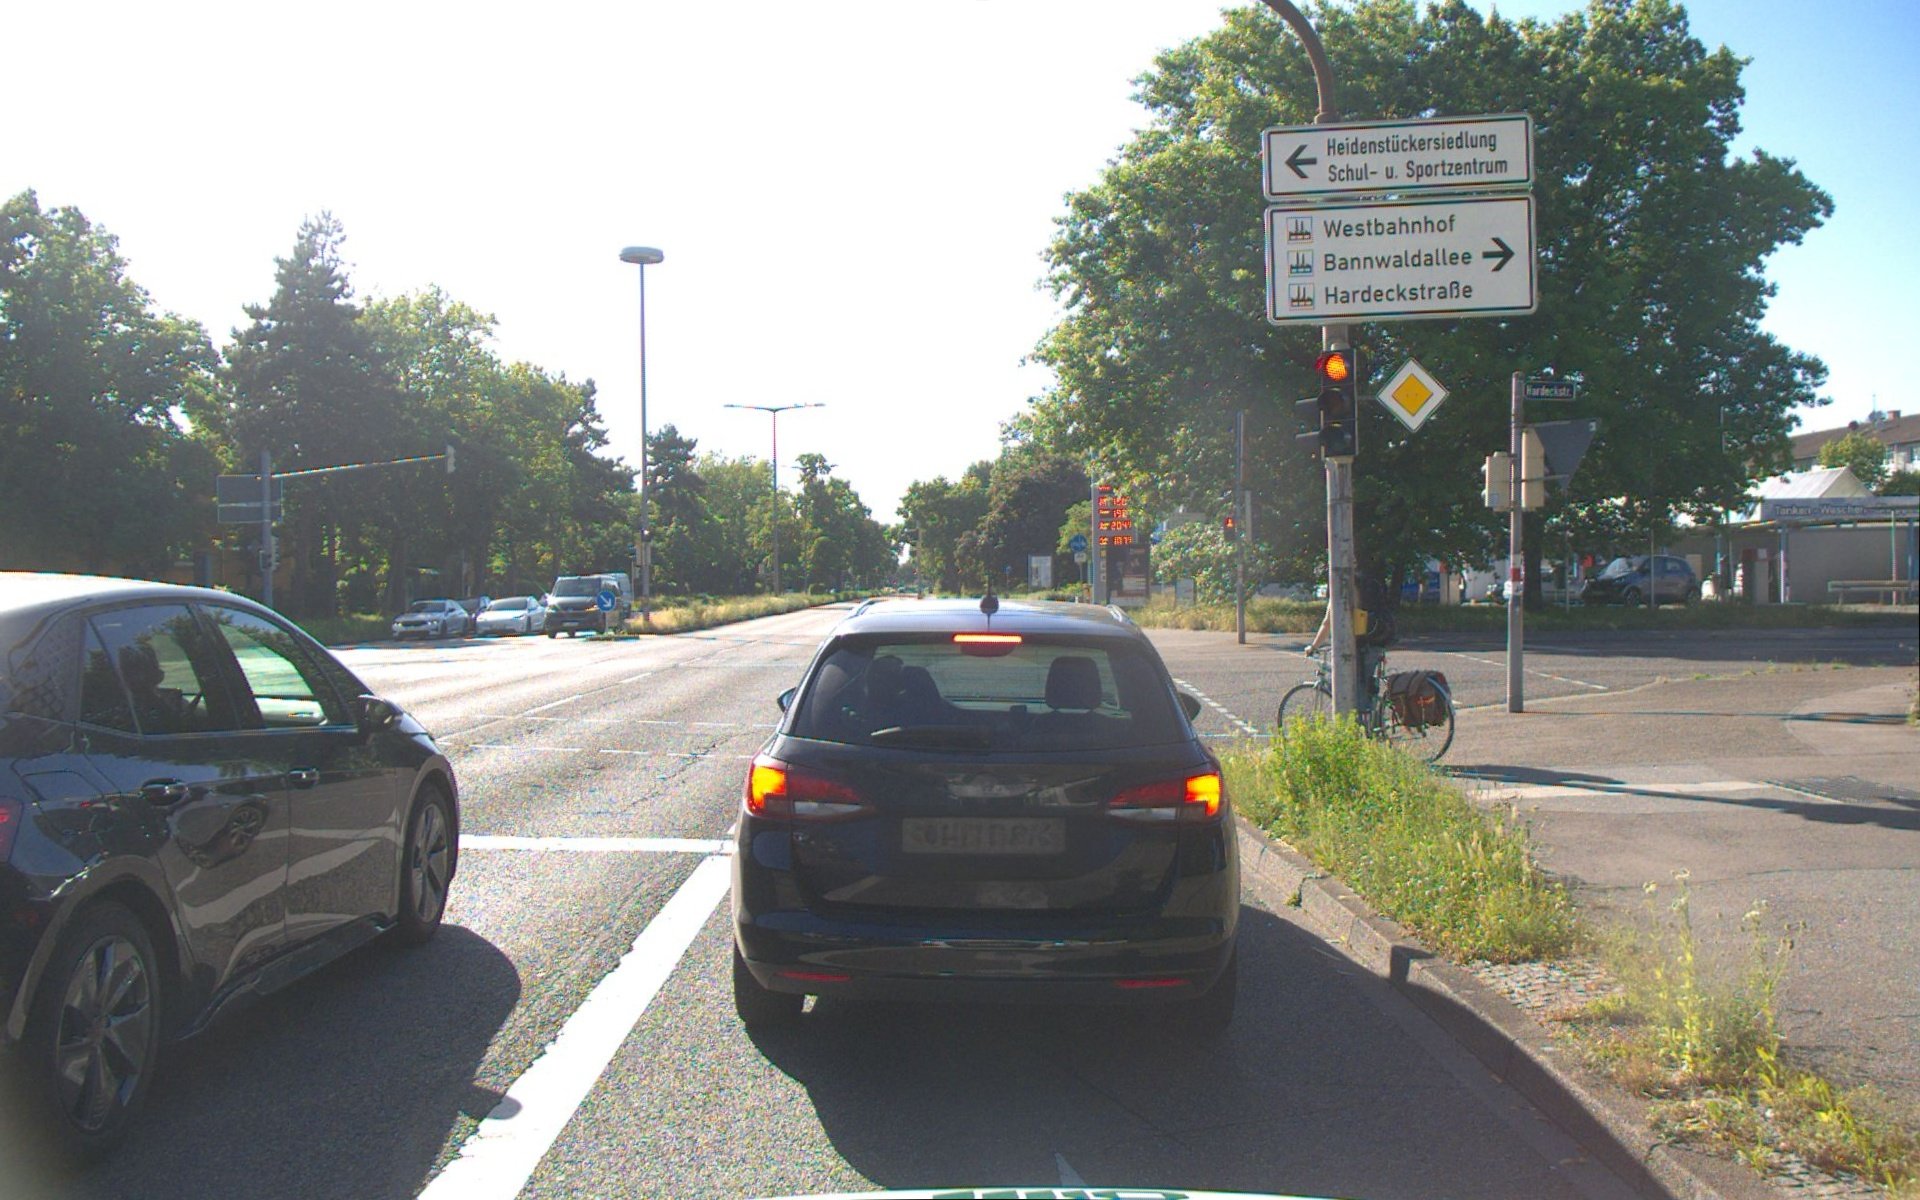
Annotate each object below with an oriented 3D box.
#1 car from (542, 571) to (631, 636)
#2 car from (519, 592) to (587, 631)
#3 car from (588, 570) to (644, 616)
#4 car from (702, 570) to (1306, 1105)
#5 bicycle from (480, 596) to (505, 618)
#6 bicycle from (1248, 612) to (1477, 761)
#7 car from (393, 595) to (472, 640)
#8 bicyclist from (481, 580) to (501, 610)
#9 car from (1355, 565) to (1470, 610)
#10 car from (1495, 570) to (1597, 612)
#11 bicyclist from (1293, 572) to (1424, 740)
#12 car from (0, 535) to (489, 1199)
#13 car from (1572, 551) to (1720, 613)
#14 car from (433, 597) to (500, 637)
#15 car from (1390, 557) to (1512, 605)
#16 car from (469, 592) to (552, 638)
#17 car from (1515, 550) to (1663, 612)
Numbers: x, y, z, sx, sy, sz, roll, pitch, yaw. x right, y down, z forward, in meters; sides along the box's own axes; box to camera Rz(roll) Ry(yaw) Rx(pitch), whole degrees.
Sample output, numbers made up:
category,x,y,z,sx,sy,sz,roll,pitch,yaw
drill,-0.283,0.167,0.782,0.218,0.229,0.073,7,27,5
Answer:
category,x,y,z,sx,sy,sz,roll,pitch,yaw
car,-12.476,0.091,55.586,1.872,2.027,5.014,-1,0,-1
car,-16.417,0.446,66.934,1.652,1.458,4.614,-1,0,-1
car,-20.198,-0.427,97.341,2.057,2.536,6.003,-1,0,-1
car,0.101,0.685,6.837,1.721,1.521,4.206,0,0,-1
bicycle,-27.090,0.401,95.884,0.858,1.233,2.534,-2,0,-5
bicycle,3.225,0.700,13.371,0.533,1.117,1.748,-2,-2,-44
car,-19.548,0.626,61.449,1.652,1.535,4.003,-1,0,-1
bicyclist,-27.107,-0.304,95.673,0.858,1.677,1.198,-2,0,-5
car,16.431,-0.465,60.060,3.837,1.544,1.732,-2,0,-24
car,25.378,-0.376,71.640,3.923,1.709,1.737,-1,0,-17
bicyclist,3.217,0.450,13.373,0.534,1.299,0.816,-2,-2,-44
car,-3.000,0.658,5.605,1.650,1.608,4.206,0,0,-1
car,19.988,-0.535,48.196,3.934,1.709,1.732,-2,0,-24
car,-20.227,0.687,67.960,1.652,1.535,4.002,-1,0,-2
car,16.908,-0.653,56.985,3.837,1.544,1.732,-2,0,-24
car,-16.456,0.513,60.789,1.850,1.551,4.503,-1,0,-1
car,19.034,-0.573,50.046,3.935,1.780,1.985,-1,0,-24
